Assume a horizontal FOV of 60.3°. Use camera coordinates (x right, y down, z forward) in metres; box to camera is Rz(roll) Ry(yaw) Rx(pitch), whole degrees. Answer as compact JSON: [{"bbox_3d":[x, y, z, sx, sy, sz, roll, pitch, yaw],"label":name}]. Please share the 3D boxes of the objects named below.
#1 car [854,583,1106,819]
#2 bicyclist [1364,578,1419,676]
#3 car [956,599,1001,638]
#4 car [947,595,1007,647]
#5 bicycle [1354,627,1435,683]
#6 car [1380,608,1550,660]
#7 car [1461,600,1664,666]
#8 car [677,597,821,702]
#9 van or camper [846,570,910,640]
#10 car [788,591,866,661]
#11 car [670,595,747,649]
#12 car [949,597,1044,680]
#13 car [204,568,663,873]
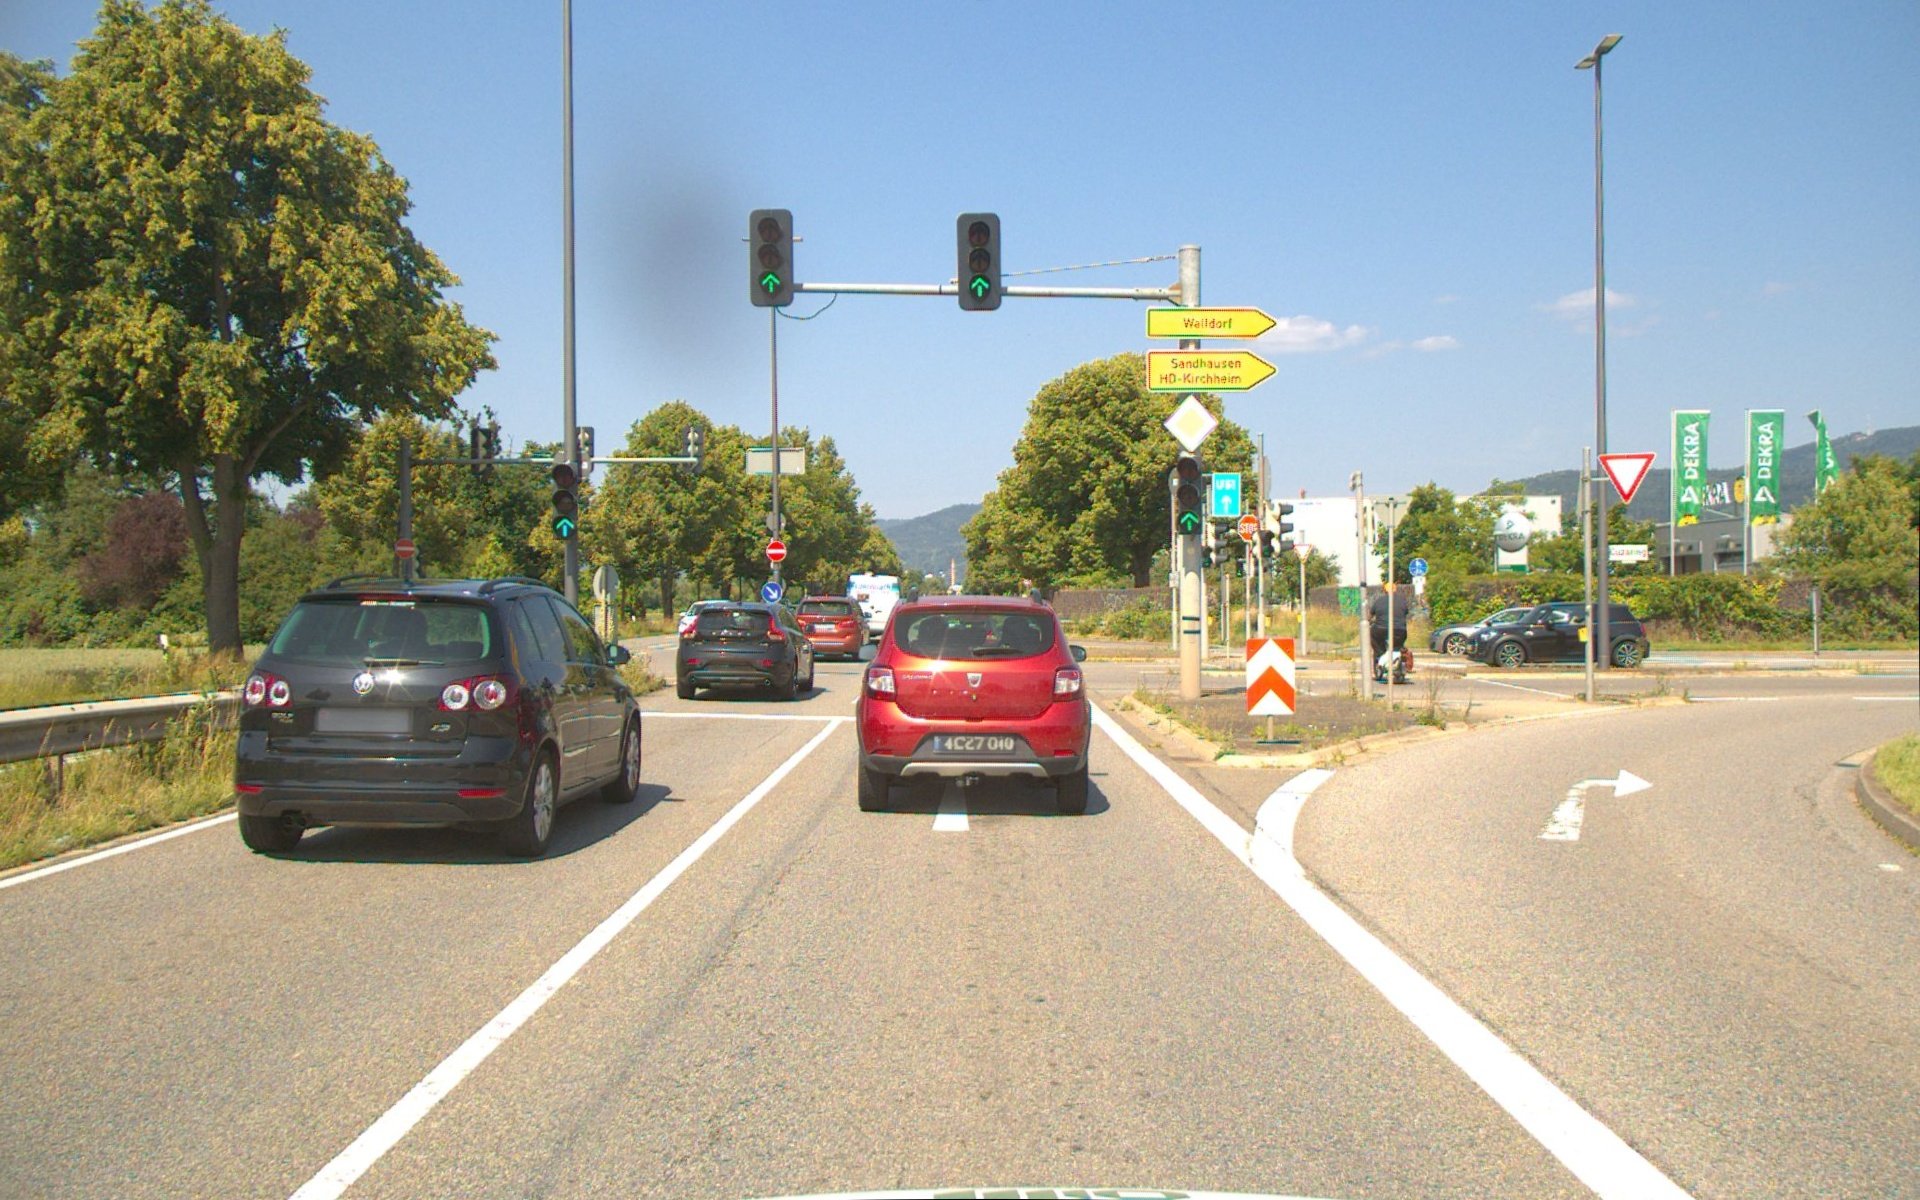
[{"bbox_3d":[0.187,0.696,13.197,1.713,1.603,3.677,0,0,1],"label":"car"},{"bbox_3d":[8.054,0.490,30.888,0.786,1.802,0.808,-1,0,-1],"label":"bicyclist"},{"bbox_3d":[0.748,0.707,64.740,1.713,1.483,3.677,0,0,1],"label":"car"},{"bbox_3d":[0.543,0.606,49.544,1.713,1.483,3.677,0,0,1],"label":"car"},{"bbox_3d":[8.075,1.007,30.874,0.746,0.931,2.779,-1,0,-1],"label":"bicycle"},{"bbox_3d":[13.966,0.923,45.770,4.277,1.350,1.805,-1,0,25],"label":"car"},{"bbox_3d":[13.037,0.705,36.009,3.901,1.350,1.808,-1,0,11],"label":"car"},{"bbox_3d":[-3.175,0.703,25.532,1.667,1.467,3.955,1,0,1],"label":"car"},{"bbox_3d":[-2.855,0.150,58.185,2.135,2.343,4.824,0,0,-2],"label":"van or camper"},{"bbox_3d":[-3.231,0.602,40.809,1.689,1.628,3.954,0,0,-1],"label":"car"},{"bbox_3d":[-8.269,0.701,54.737,1.953,1.699,3.999,-1,0,-1],"label":"car"},{"bbox_3d":[0.712,0.700,31.802,1.713,1.483,3.677,0,0,1],"label":"car"},{"bbox_3d":[-3.157,0.636,10.759,1.688,1.603,3.893,1,0,1],"label":"car"}]
